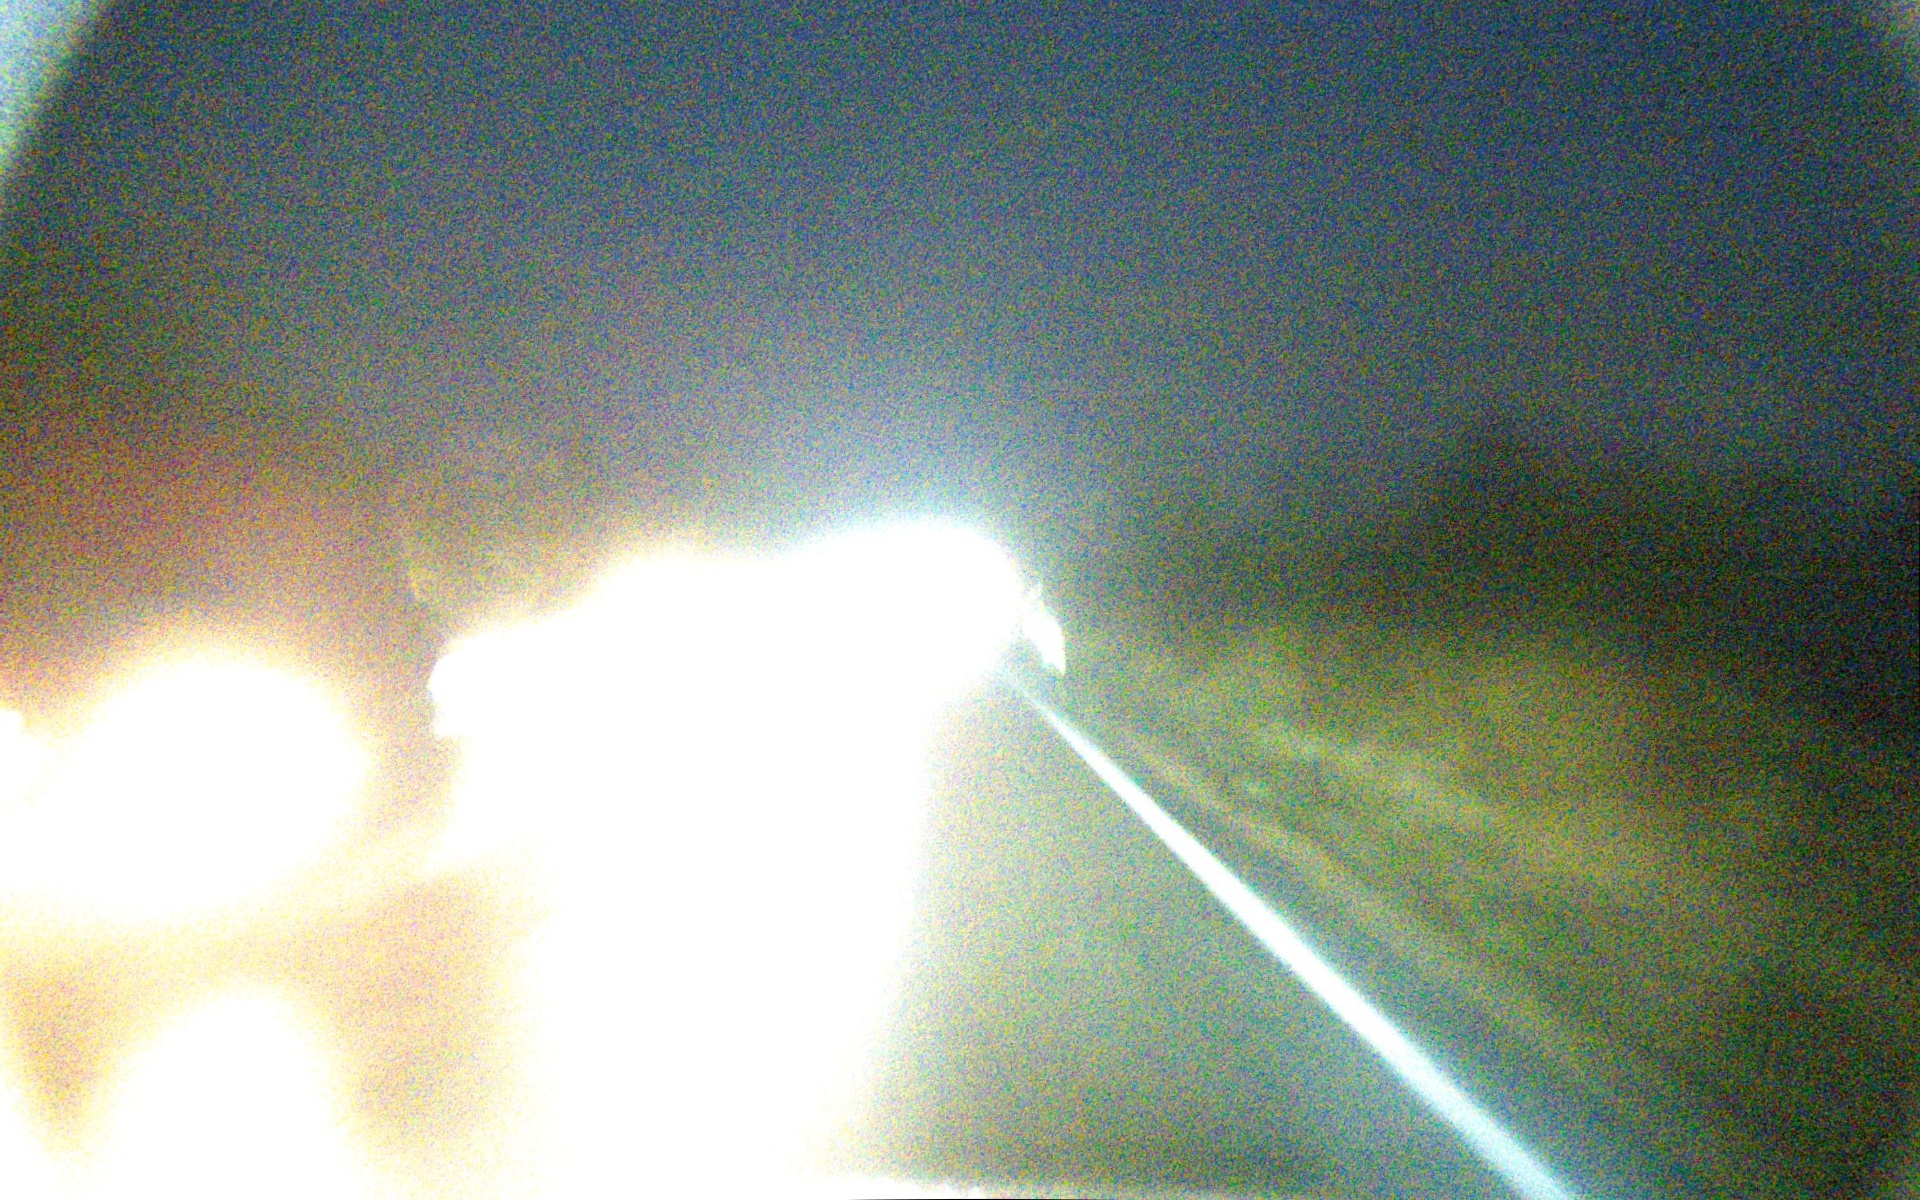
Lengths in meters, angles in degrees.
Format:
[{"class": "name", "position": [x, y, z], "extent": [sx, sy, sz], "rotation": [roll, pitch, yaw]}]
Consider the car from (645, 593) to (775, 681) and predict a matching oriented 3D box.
[{"class": "car", "position": [-4.494, 0.651, 30.267], "extent": [1.782, 1.467, 3.999], "rotation": [2, -1, -1]}]

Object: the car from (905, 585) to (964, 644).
[{"class": "car", "position": [-0.891, 0.446, 55.052], "extent": [1.805, 1.770, 3.999], "rotation": [2, 1, -2]}]

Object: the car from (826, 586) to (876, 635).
[{"class": "car", "position": [-4.587, 0.451, 70.205], "extent": [1.766, 1.962, 4.000], "rotation": [1, -1, 0]}]

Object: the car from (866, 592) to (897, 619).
[{"class": "car", "position": [-4.412, 0.312, 92.942], "extent": [1.563, 1.426, 3.470], "rotation": [2, -1, 0]}]

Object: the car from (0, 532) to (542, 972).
[{"class": "car", "position": [-3.622, 0.599, 8.463], "extent": [1.953, 1.690, 3.999], "rotation": [2, -1, -1]}]
